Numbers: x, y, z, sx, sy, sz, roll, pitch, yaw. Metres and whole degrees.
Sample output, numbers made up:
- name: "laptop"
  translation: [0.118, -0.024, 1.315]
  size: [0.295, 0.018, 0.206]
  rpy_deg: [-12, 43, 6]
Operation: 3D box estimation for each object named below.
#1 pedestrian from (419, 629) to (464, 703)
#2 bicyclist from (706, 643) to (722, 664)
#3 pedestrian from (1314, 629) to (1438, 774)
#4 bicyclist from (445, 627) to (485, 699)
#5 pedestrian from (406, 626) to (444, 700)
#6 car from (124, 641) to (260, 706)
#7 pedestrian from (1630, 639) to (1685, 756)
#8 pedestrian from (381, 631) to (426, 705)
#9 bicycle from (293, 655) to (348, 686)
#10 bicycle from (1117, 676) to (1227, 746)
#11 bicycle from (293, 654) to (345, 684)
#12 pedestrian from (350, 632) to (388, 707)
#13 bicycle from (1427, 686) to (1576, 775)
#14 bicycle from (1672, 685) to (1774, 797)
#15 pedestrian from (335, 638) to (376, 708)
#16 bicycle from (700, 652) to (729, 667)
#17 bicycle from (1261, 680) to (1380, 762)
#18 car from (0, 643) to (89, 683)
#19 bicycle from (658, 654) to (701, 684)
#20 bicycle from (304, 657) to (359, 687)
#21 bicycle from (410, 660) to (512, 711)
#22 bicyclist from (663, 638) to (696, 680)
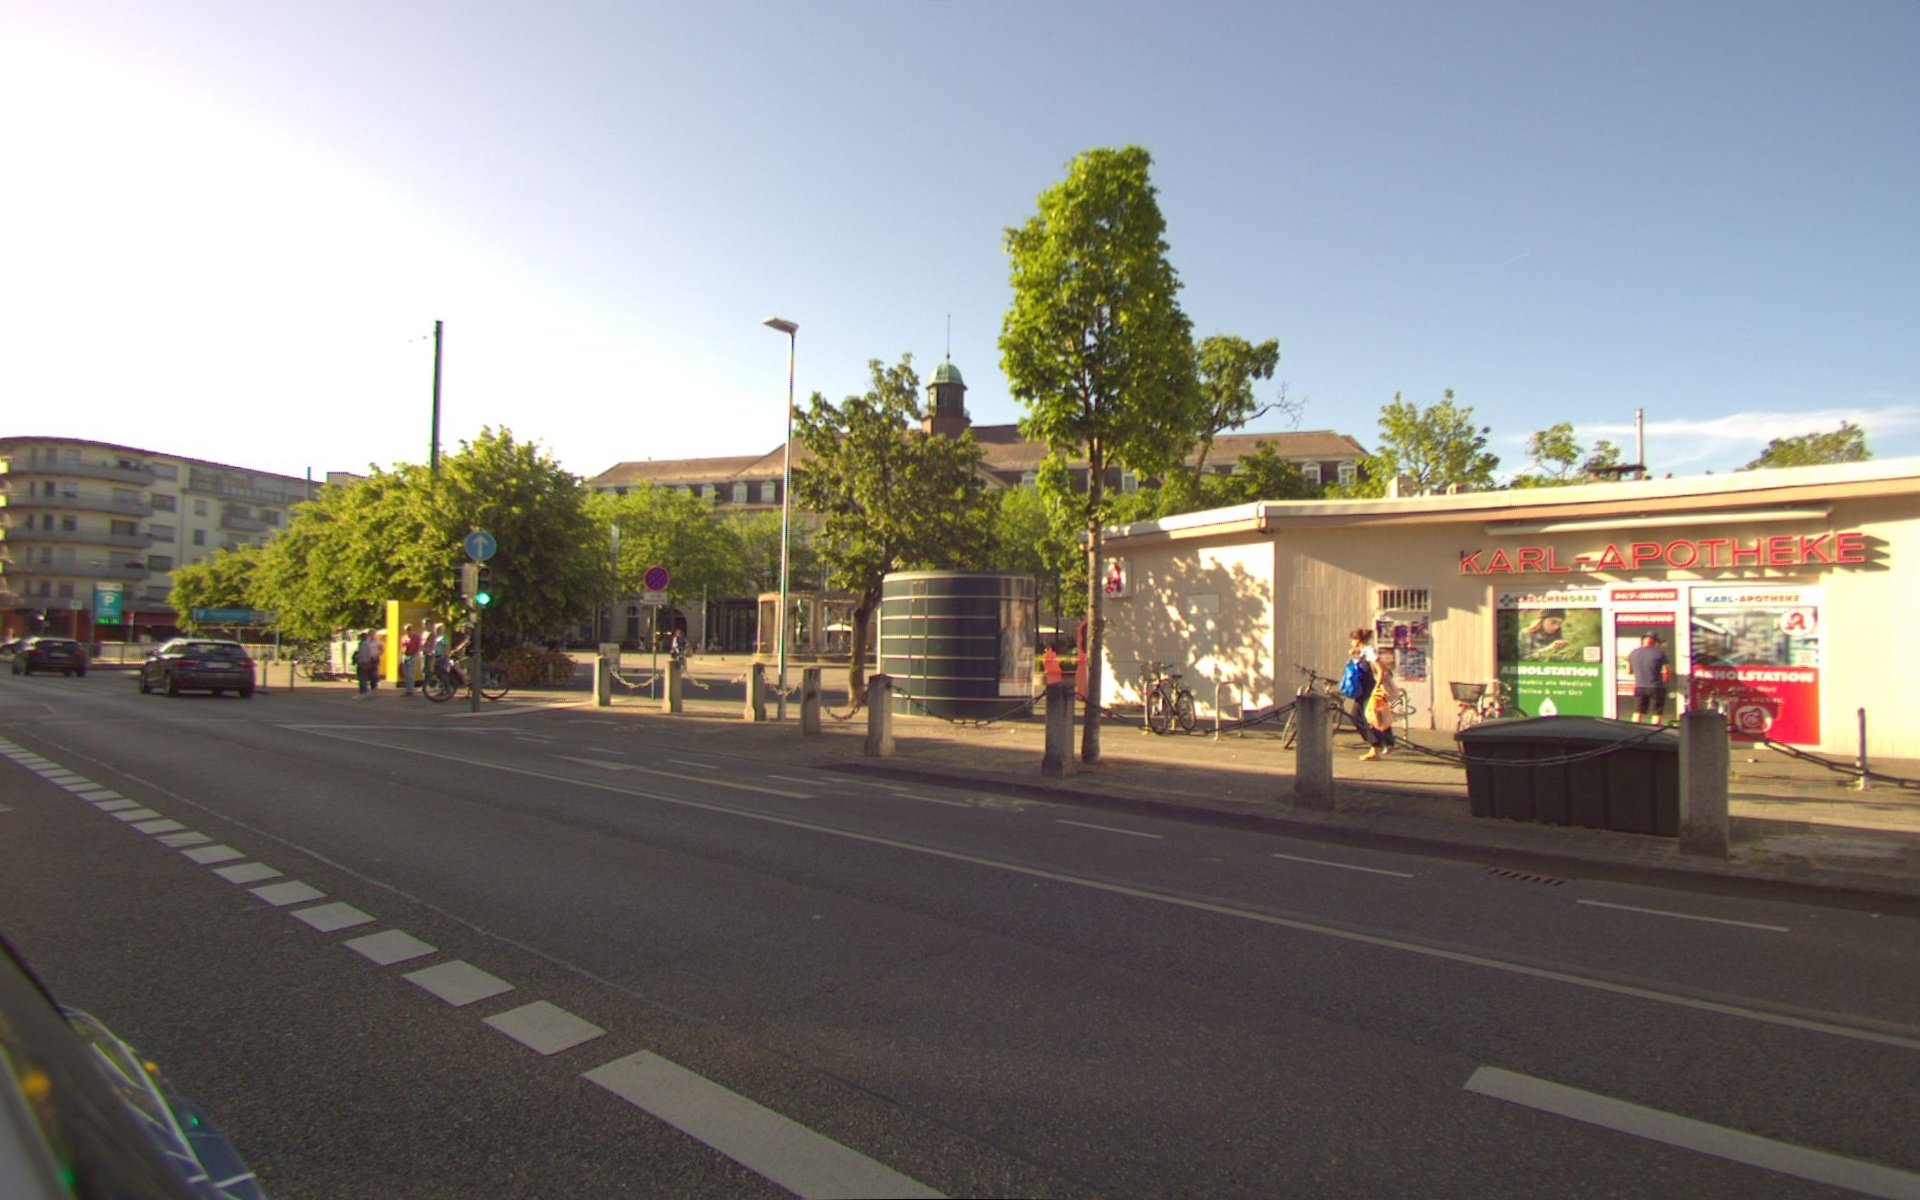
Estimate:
- name: "pedestrian"
  translation: [-13.058, 1.650, 25.486]
  size: [0.776, 1.825, 0.586]
  rpy_deg: [0, -3, 15]
- name: "bicyclist"
  translation: [-18.299, 3.985, 75.389]
  size: [0.647, 1.483, 0.939]
  rpy_deg: [-2, -4, 42]
- name: "pedestrian"
  translation: [5.150, 1.224, 12.573]
  size: [1.067, 1.711, 0.905]
  rpy_deg: [1, -3, -22]
- name: "bicyclist"
  translation: [-11.786, 1.485, 24.078]
  size: [0.791, 1.661, 0.997]
  rpy_deg: [2, -3, -28]
- name: "pedestrian"
  translation: [-14.180, 1.661, 26.803]
  size: [0.783, 1.933, 0.601]
  rpy_deg: [-2, -4, 42]
- name: "car"
  translation: [-18.983, 1.785, 24.958]
  size: [4.038, 1.408, 1.634]
  rpy_deg: [-2, -8, 39]
- name: "pedestrian"
  translation: [10.560, 1.458, 15.323]
  size: [0.611, 1.722, 0.514]
  rpy_deg: [-2, -5, 40]
- name: "pedestrian"
  translation: [-13.977, 1.714, 25.442]
  size: [0.772, 1.825, 0.590]
  rpy_deg: [1, -3, -4]
- name: "bicycle"
  translation: [-21.993, 2.433, 34.819]
  size: [0.364, 1.039, 1.530]
  rpy_deg: [-2, -4, 39]
- name: "bicycle"
  translation: [3.405, 1.738, 16.160]
  size: [1.861, 1.010, 0.766]
  rpy_deg: [3, -4, -42]
- name: "bicycle"
  translation: [-22.788, 2.462, 35.998]
  size: [1.506, 1.039, 0.365]
  rpy_deg: [3, -4, -35]
- name: "pedestrian"
  translation: [-14.936, 1.751, 25.595]
  size: [0.640, 1.872, 0.626]
  rpy_deg: [1, -3, -18]
- name: "bicycle"
  translation: [6.995, 1.637, 13.041]
  size: [1.985, 1.010, 0.890]
  rpy_deg: [3, -4, -36]
- name: "bicycle"
  translation: [8.711, 1.545, 11.521]
  size: [0.753, 1.096, 1.967]
  rpy_deg: [-2, -4, 41]
- name: "pedestrian"
  translation: [-14.854, 1.789, 24.885]
  size: [0.676, 1.686, 0.699]
  rpy_deg: [1, -3, -18]
- name: "bicycle"
  translation: [-18.300, 4.414, 75.368]
  size: [0.696, 1.112, 2.095]
  rpy_deg: [-2, -4, 41]
- name: "bicycle"
  translation: [5.047, 1.652, 14.122]
  size: [1.861, 1.010, 0.766]
  rpy_deg: [3, -4, -42]
- name: "car"
  translation: [-34.710, 2.363, 38.337]
  size: [4.248, 1.434, 1.732]
  rpy_deg: [-2, -5, 38]
- name: "bicycle"
  translation: [-11.032, 2.701, 39.765]
  size: [0.927, 1.141, 2.486]
  rpy_deg: [3, -4, -31]
- name: "bicycle"
  translation: [-21.501, 2.464, 34.652]
  size: [0.364, 1.010, 1.540]
  rpy_deg: [-2, -4, 39]
- name: "bicycle"
  translation: [-11.826, 2.011, 24.004]
  size: [2.138, 1.080, 0.766]
  rpy_deg: [-1, -2, -29]
- name: "bicyclist"
  translation: [-11.017, 2.336, 39.792]
  size: [0.927, 1.621, 1.173]
  rpy_deg: [3, -4, -32]
